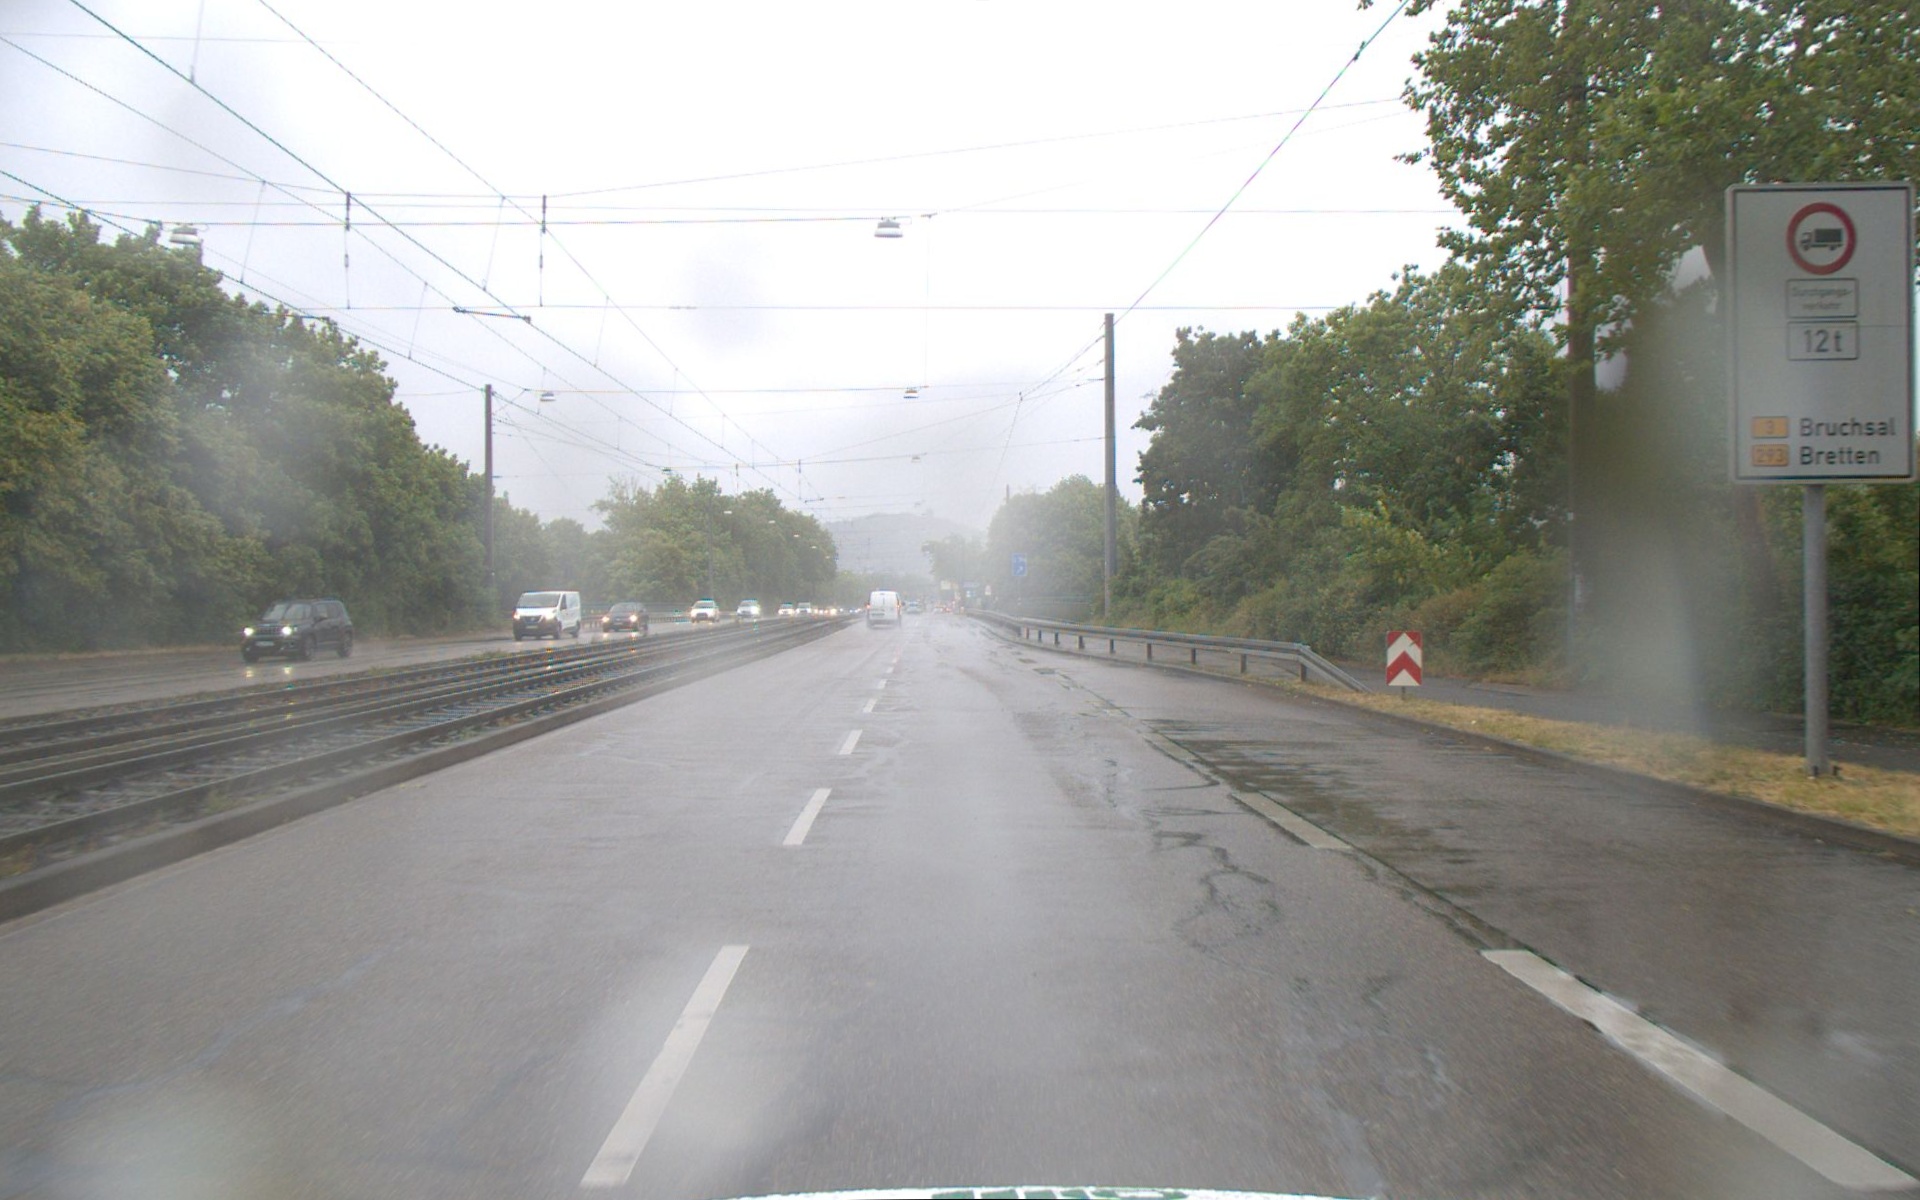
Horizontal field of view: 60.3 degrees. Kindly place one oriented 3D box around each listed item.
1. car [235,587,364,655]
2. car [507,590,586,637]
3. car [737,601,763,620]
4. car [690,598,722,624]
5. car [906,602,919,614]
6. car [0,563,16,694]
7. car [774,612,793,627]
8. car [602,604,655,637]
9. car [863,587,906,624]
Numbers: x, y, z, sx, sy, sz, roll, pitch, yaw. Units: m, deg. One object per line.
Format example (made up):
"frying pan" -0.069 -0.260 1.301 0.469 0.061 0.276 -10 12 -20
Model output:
"car" -18.332 0.538 46.114 1.803 1.747 4.164 1 1 2
"car" -17.308 0.533 69.517 1.998 1.806 4.986 1 1 1
"car" -18.101 0.921 142.589 1.761 1.478 4.194 1 1 0
"car" -17.803 0.753 116.088 1.719 1.741 3.999 1 1 -2
"car" -6.253 1.089 219.858 1.708 1.534 3.699 1 1 -1
"car" -18.649 0.556 27.177 2.055 2.384 6.992 1 1 2
"car" -19.801 2.200 185.565 1.708 1.534 3.699 1 1 -1
"car" -17.250 1.060 86.312 1.654 1.545 4.613 1 1 2
"car" -3.718 0.245 82.026 1.948 1.713 3.740 1 1 0
